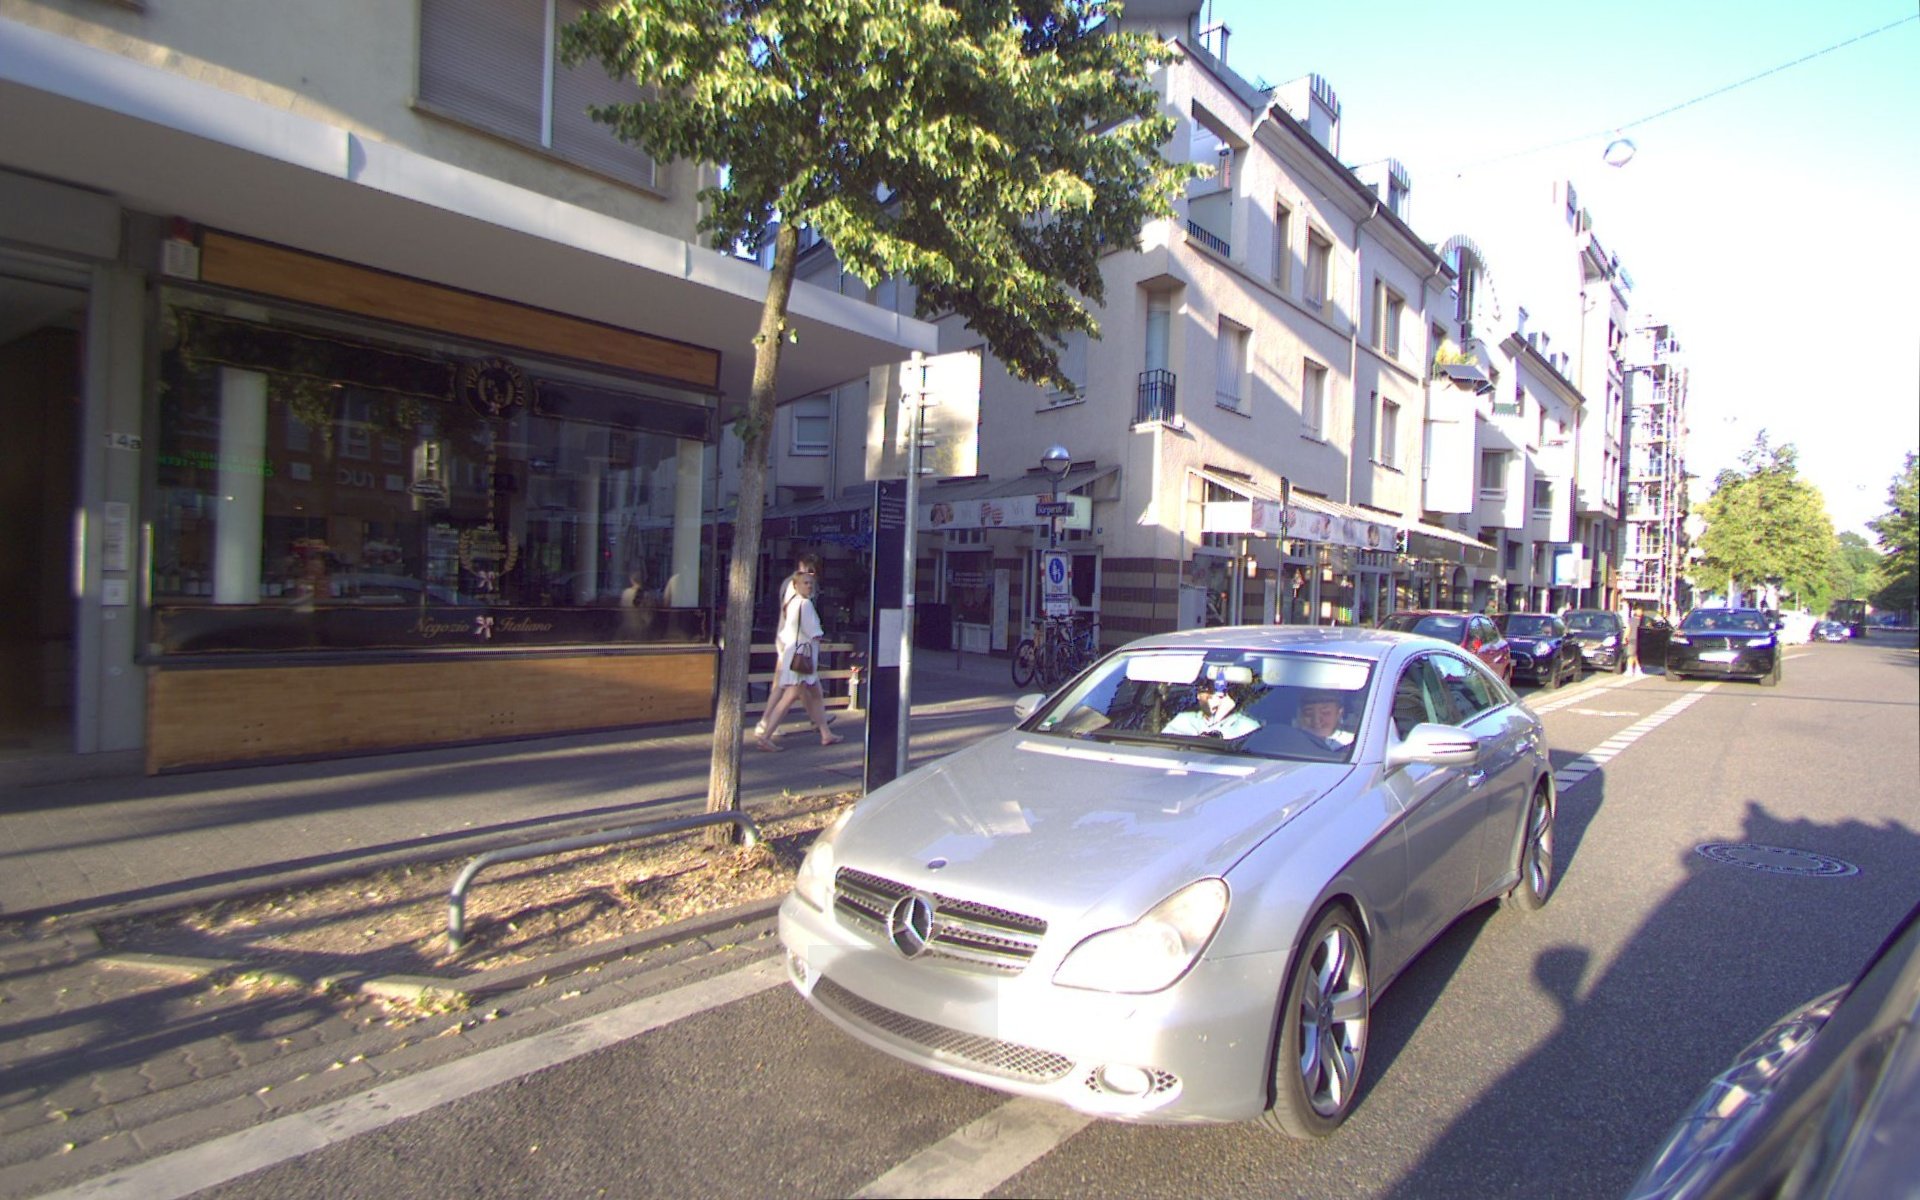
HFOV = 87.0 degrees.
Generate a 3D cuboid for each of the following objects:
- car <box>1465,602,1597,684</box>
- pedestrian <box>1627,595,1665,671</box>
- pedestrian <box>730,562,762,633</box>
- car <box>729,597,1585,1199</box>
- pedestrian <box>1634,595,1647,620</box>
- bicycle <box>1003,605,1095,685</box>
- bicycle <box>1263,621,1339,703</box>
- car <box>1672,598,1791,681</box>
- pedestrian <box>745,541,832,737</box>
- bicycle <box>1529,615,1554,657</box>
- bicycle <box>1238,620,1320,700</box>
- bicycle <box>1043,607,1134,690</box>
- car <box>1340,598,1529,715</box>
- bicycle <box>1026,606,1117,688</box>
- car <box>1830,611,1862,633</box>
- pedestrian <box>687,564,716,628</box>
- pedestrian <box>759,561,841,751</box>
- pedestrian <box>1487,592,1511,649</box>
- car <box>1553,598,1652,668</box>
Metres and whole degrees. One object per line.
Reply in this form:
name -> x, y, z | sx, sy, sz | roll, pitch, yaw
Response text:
car -> 11.667, 0.804, 20.580 | 1.615, 1.452, 3.868 | 3, 1, 40
pedestrian -> 16.413, 0.771, 24.209 | 0.629, 1.771, 0.660 | 3, 1, 41
pedestrian -> -5.359, -0.078, 25.308 | 0.688, 1.696, 0.799 | 2, 2, -13
car -> 1.379, 0.742, 4.492 | 1.740, 1.419, 4.571 | 0, -1, 40
pedestrian -> 35.914, 0.382, 53.410 | 0.490, 1.279, 0.415 | 0, -1, 42
bicycle -> 1.359, 0.645, 15.201 | 0.320, 1.118, 1.851 | 2, 1, 41
bicycle -> 4.854, 0.851, 14.355 | 0.314, 1.059, 1.638 | 3, 2, 43
car -> 17.373, 0.820, 22.713 | 1.884, 1.656, 4.164 | 1, 0, 41
pedestrian -> -1.635, 0.351, 9.648 | 0.543, 1.779, 0.495 | 6, 3, 41
bicycle -> 15.852, 0.976, 27.573 | 0.295, 1.099, 1.441 | 1, 0, 41
bicycle -> 4.635, 0.835, 14.614 | 0.314, 1.059, 1.852 | 3, 2, 43
bicycle -> 1.893, 0.674, 14.696 | 0.320, 1.118, 1.851 | 2, 1, 41
car -> 7.252, 0.757, 15.283 | 1.587, 1.452, 3.868 | 4, 2, 40
bicycle -> 1.666, 0.657, 14.906 | 0.290, 1.118, 1.859 | 2, 1, 41
car -> 61.145, 1.496, 69.900 | 1.616, 1.492, 3.634 | 0, 0, 41
pedestrian -> -6.943, -0.118, 27.180 | 0.641, 1.675, 0.569 | 2, 0, -21
pedestrian -> -1.425, 0.478, 9.003 | 0.519, 1.612, 0.402 | 6, 3, 41
pedestrian -> 17.387, 0.647, 32.652 | 0.574, 1.823, 0.443 | 0, -1, 42
car -> 16.596, 0.808, 26.079 | 1.615, 1.612, 3.868 | 2, 1, 40
